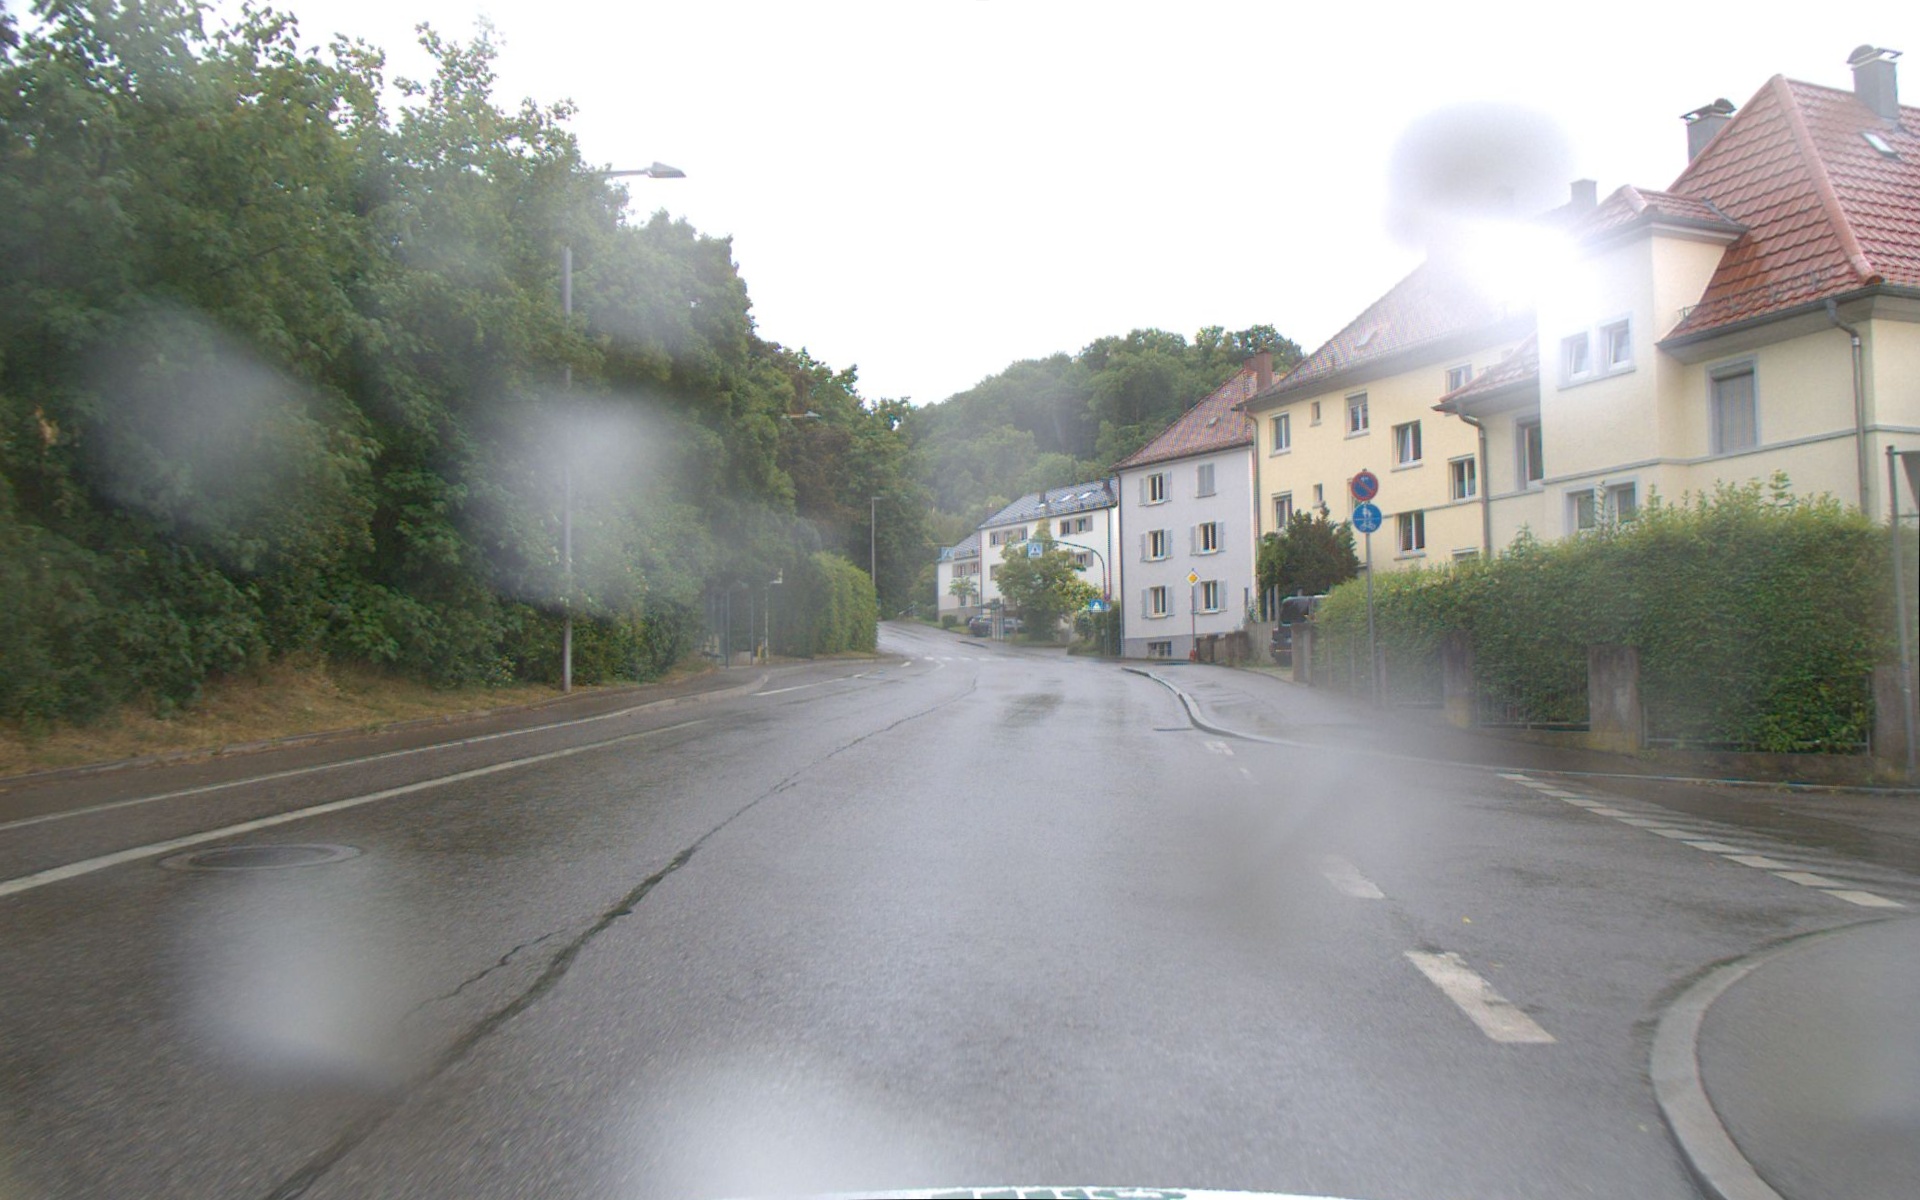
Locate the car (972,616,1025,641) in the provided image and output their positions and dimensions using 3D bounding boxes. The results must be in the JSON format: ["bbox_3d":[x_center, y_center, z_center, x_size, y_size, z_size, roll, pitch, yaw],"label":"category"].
[{"bbox_3d":[3.044,2.262,130.180,3.911,1.803,1.997,2,-3,-7],"label":"car"}]

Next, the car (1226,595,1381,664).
[{"bbox_3d":[9.891,0.883,47.684,3.922,1.803,1.991,2,-3,-16],"label":"car"}]

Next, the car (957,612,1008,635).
[{"bbox_3d":[1.839,1.951,136.623,3.911,1.803,1.997,2,-3,-7],"label":"car"}]

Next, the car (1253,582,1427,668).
[{"bbox_3d":[9.827,0.679,42.859,3.922,2.049,1.991,2,-3,-16],"label":"car"}]
